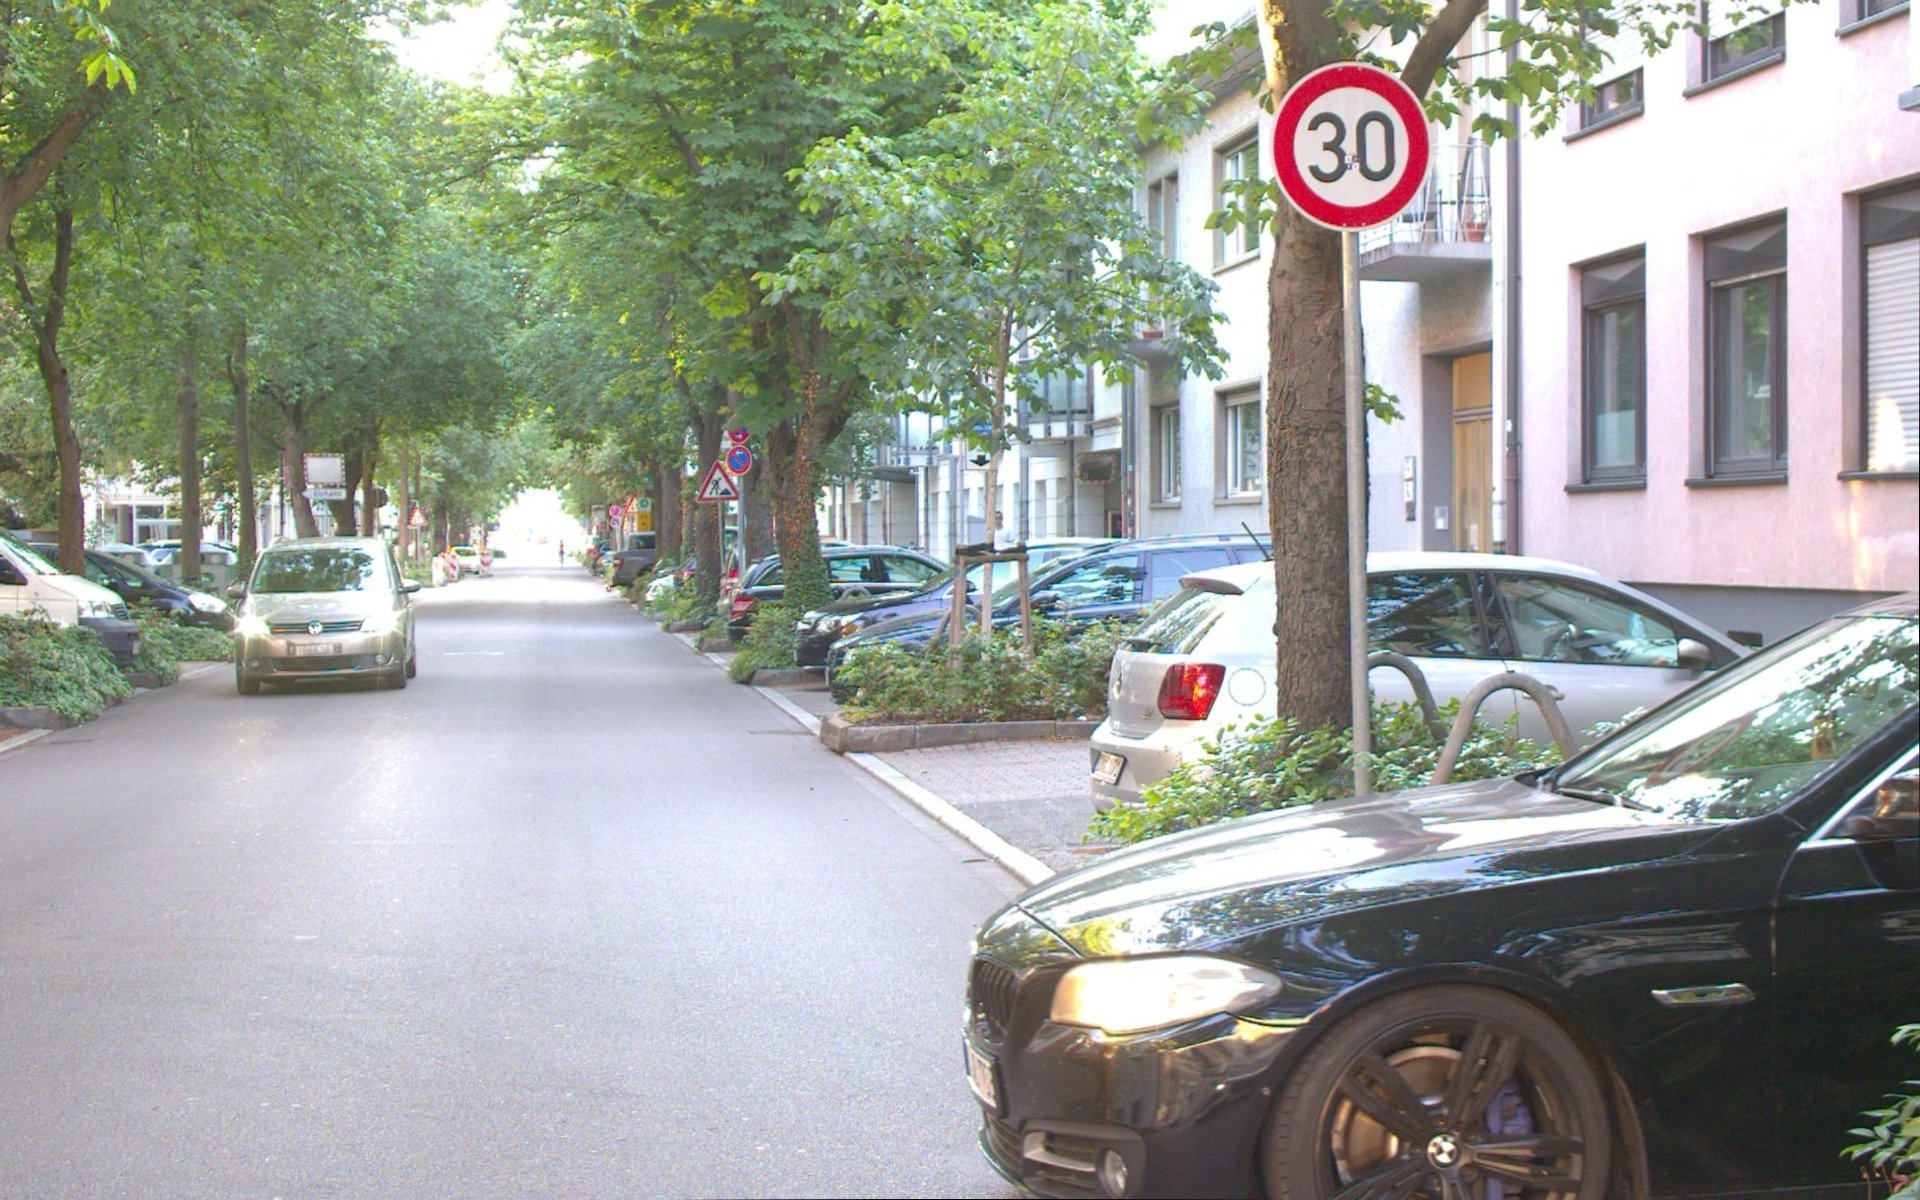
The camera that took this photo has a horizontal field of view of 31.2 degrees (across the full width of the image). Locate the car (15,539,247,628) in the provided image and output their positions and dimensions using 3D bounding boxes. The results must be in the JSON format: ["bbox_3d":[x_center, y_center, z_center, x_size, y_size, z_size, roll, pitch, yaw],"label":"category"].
[{"bbox_3d":[-15.446,-0.319,64.212,3.967,1.614,1.785,-1,1,-5],"label":"car"}]

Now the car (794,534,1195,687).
[{"bbox_3d":[0.322,0.085,35.845,3.967,1.522,1.785,-1,1,-7],"label":"car"}]

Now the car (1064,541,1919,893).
[{"bbox_3d":[2.550,0.481,15.768,3.908,1.471,1.665,-1,1,-8],"label":"car"}]

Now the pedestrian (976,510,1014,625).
[{"bbox_3d":[0.614,-0.575,60.412,0.589,2.007,0.669,0,1,-5],"label":"pedestrian"}]

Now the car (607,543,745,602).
[{"bbox_3d":[-8.315,-0.802,100.476,3.967,1.678,1.785,-1,1,-5],"label":"car"}]

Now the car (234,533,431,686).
[{"bbox_3d":[-6.745,0.061,37.311,1.779,1.557,4.169,0,1,-6],"label":"car"}]

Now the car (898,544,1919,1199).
[{"bbox_3d":[2.312,0.617,7.633,4.744,1.475,1.800,0,1,-6],"label":"car"}]

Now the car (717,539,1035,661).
[{"bbox_3d":[-1.125,-0.018,44.656,3.967,1.522,1.785,-1,1,-7],"label":"car"}]

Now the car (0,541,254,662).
[{"bbox_3d":[-11.917,0.008,47.745,3.967,1.614,1.785,-1,1,-6],"label":"car"}]

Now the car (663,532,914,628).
[{"bbox_3d":[-2.834,-0.338,56.521,3.967,1.522,1.785,-1,1,-8],"label":"car"}]

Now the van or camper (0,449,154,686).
[{"bbox_3d":[-11.126,-0.346,36.746,4.662,2.470,2.000,0,1,-7],"label":"van or camper"}]

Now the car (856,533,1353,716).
[{"bbox_3d":[1.193,0.179,29.365,3.967,1.471,1.785,-1,1,-8],"label":"car"}]

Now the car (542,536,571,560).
[{"bbox_3d":[-25.983,-3.337,221.265,1.822,1.525,4.001,0,1,-6],"label":"car"}]

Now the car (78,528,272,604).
[{"bbox_3d":[-17.277,-0.754,75.817,3.967,1.614,1.785,-1,1,-5],"label":"car"}]
